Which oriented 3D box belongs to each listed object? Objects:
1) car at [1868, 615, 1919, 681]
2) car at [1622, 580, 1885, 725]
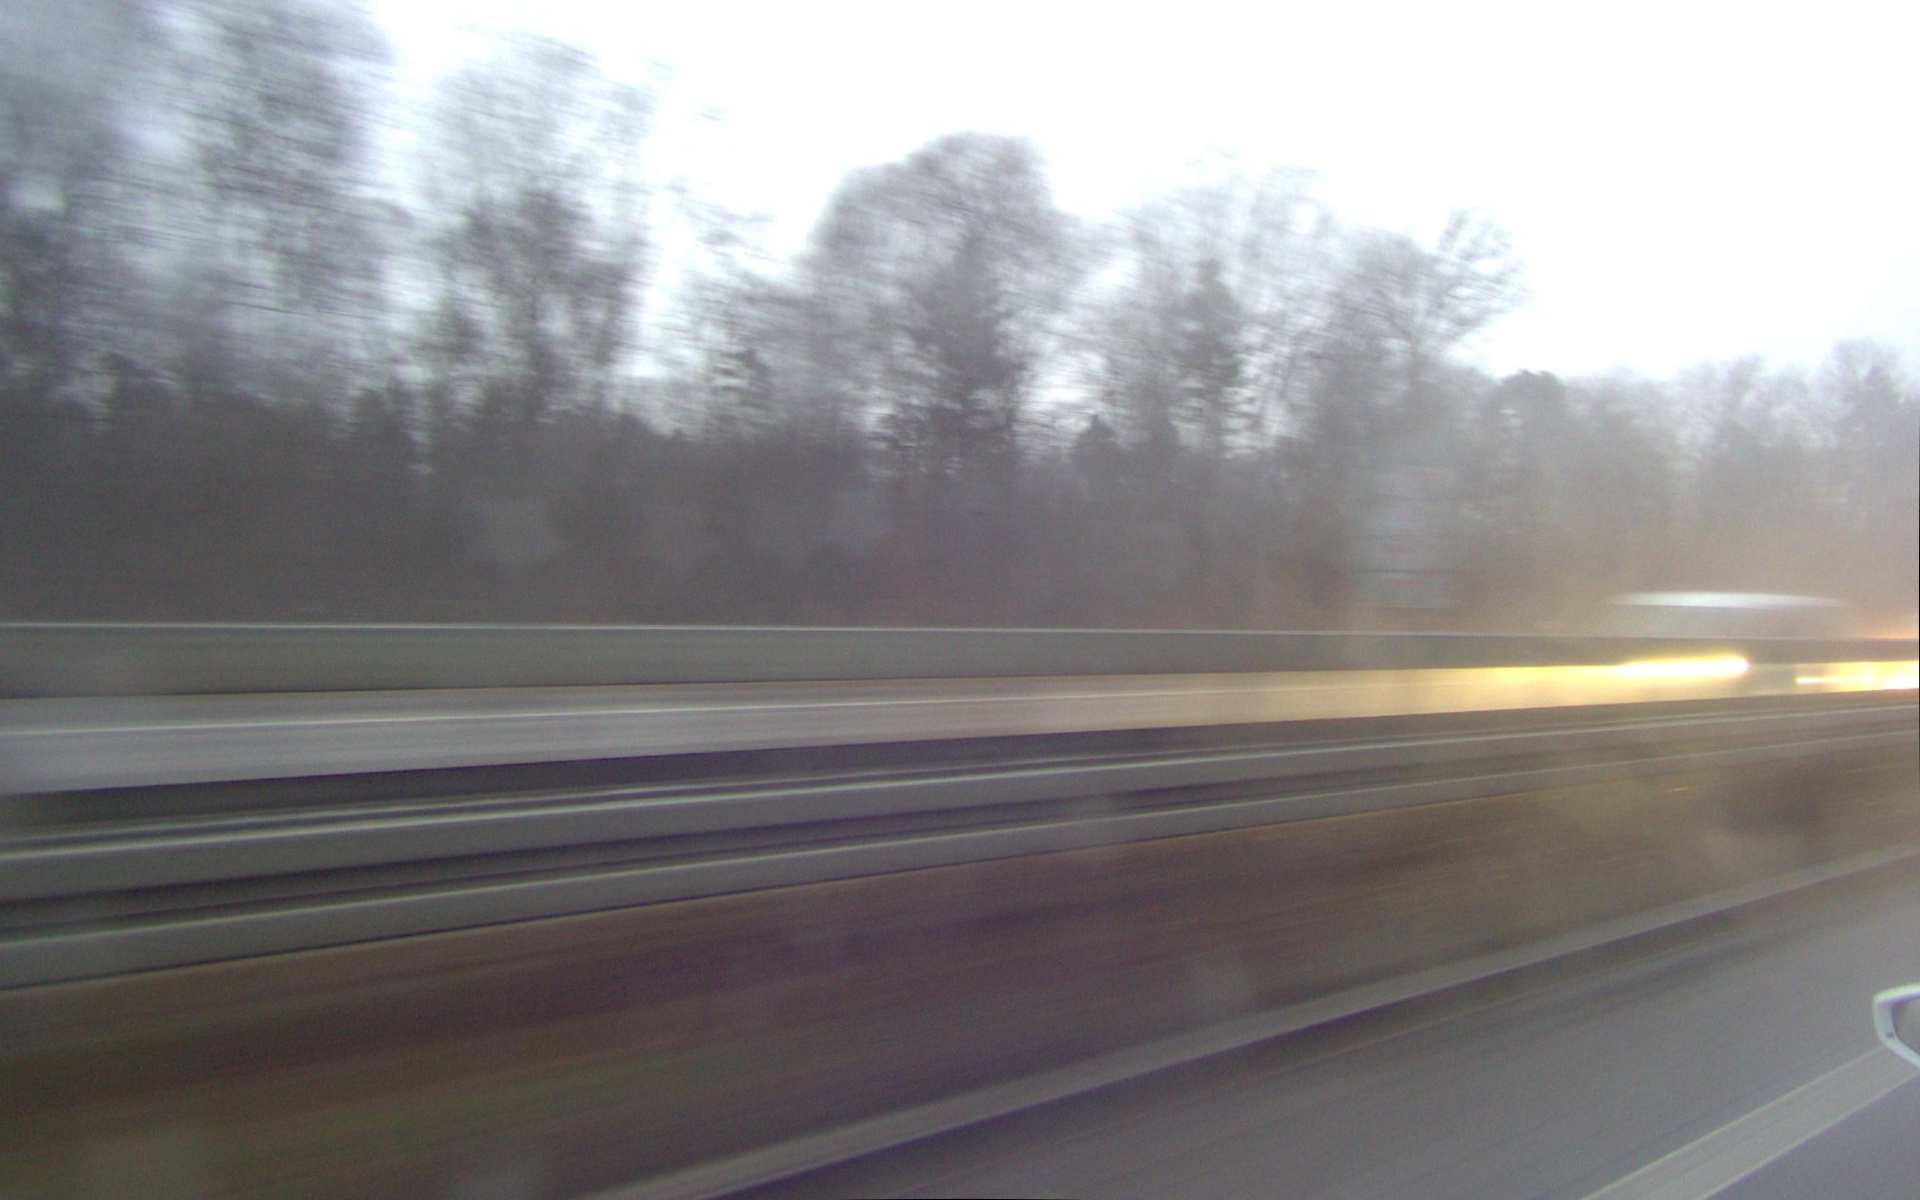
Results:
[{"bbox_3d":[28.652,1.402,29.455,3.952,1.823,1.846,2,0,-30],"label":"car"},{"bbox_3d":[12.630,0.768,15.920,4.549,2.009,1.841,2,0,-32],"label":"car"}]
